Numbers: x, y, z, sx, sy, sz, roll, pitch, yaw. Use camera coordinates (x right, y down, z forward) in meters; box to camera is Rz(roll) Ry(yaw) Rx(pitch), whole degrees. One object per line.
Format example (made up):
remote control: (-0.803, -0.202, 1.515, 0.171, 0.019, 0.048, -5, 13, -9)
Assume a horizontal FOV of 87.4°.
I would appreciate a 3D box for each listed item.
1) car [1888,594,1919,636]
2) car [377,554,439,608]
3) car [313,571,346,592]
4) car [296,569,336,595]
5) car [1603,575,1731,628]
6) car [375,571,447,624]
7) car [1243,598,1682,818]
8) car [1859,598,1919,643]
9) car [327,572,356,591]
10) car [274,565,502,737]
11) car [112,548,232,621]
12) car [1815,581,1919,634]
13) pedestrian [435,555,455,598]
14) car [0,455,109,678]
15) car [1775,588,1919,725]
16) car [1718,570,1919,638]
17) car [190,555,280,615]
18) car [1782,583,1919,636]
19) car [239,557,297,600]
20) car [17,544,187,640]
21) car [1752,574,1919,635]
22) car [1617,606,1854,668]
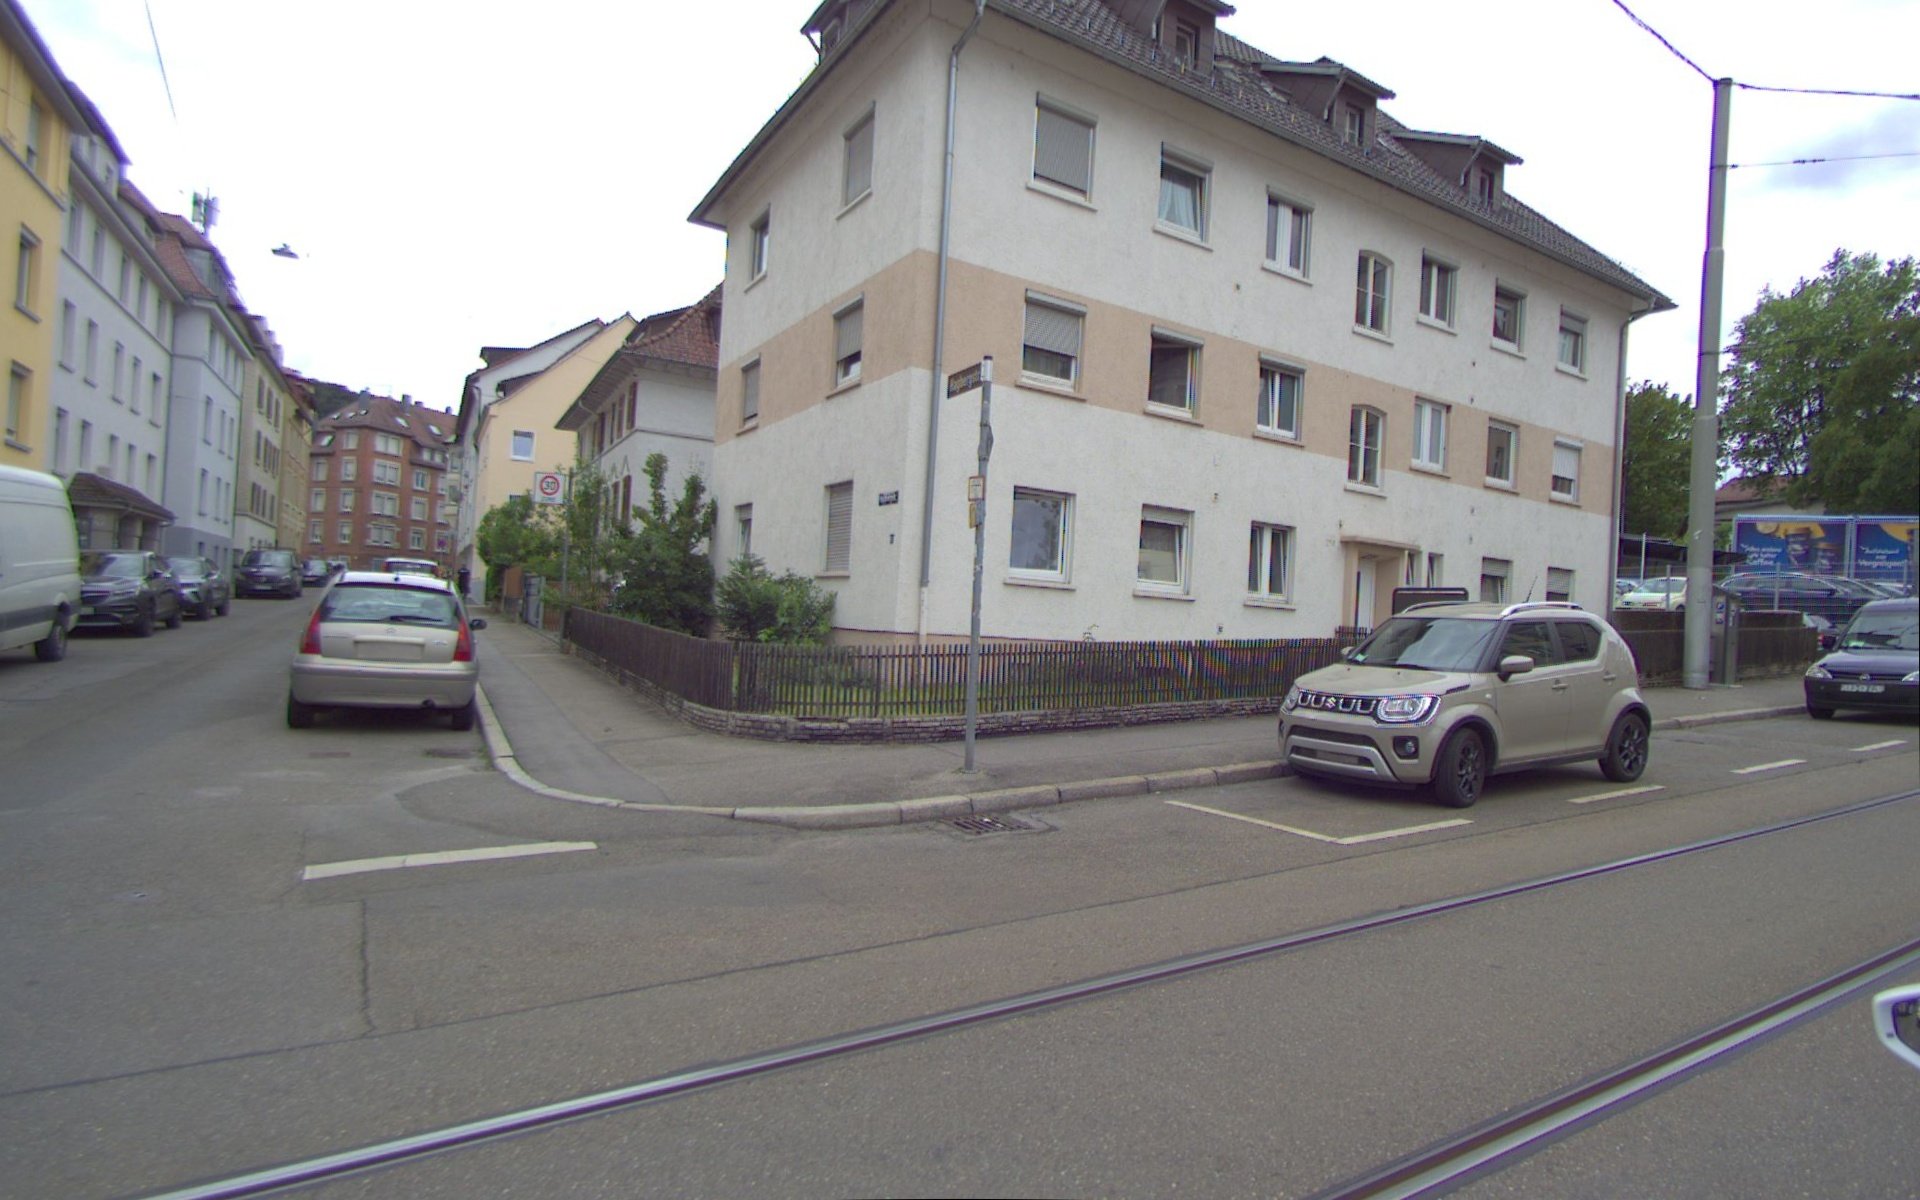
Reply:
car: (32.674, 0.502, 32.314, 1.668, 1.375, 3.856, 0, 1, -31)
car: (-19.464, -0.678, 35.389, 1.757, 1.698, 3.859, 3, 0, -30)
car: (-38.966, -1.159, 62.111, 1.604, 1.278, 3.634, 0, 2, -31)
car: (-36.128, -1.018, 56.403, 1.603, 1.410, 3.636, 0, 2, -29)
car: (21.270, 0.030, 30.207, 3.842, 1.514, 1.674, 0, 1, -30)
car: (-15.994, -0.109, 29.234, 1.688, 1.370, 3.660, 3, 0, -30)
car: (4.530, 0.788, 8.972, 3.803, 1.577, 1.689, 0, 1, -30)
car: (30.515, 0.657, 30.982, 1.668, 1.375, 3.856, 0, 1, -31)
car: (-42.661, -1.285, 69.306, 1.604, 1.278, 3.634, 0, 2, -31)
car: (-6.223, 0.474, 11.036, 1.757, 1.511, 3.497, 6, -1, -30)
car: (-19.378, -0.394, 24.868, 1.803, 1.646, 4.077, 0, 2, -31)
car: (28.323, 0.216, 29.920, 1.668, 1.514, 4.039, 0, 1, -31)
pedestrian: (-25.458, -1.153, 49.649, 0.872, 2.041, 1.155, 0, 1, -29)
car: (-12.663, -0.425, 12.288, 2.164, 2.566, 6.166, 1, 1, -28)
car: (13.870, 0.745, 14.523, 4.465, 1.759, 1.736, 0, -1, -30)
car: (22.472, 0.052, 26.114, 1.668, 1.573, 4.039, 0, 2, -31)
car: (-21.510, -0.469, 29.928, 1.803, 1.646, 4.077, 0, 2, -31)
car: (26.331, 0.243, 28.747, 1.668, 1.464, 4.039, 0, 1, -31)
car: (-26.782, -0.849, 38.969, 1.604, 1.580, 3.634, 0, 2, -31)
car: (-16.439, -0.193, 19.469, 1.803, 1.646, 4.077, 0, 2, -31)
car: (24.360, 0.087, 27.358, 1.719, 1.544, 4.039, 0, 1, -31)
car: (19.347, 0.974, 25.280, 1.839, 1.363, 4.319, 0, -4, -31)
